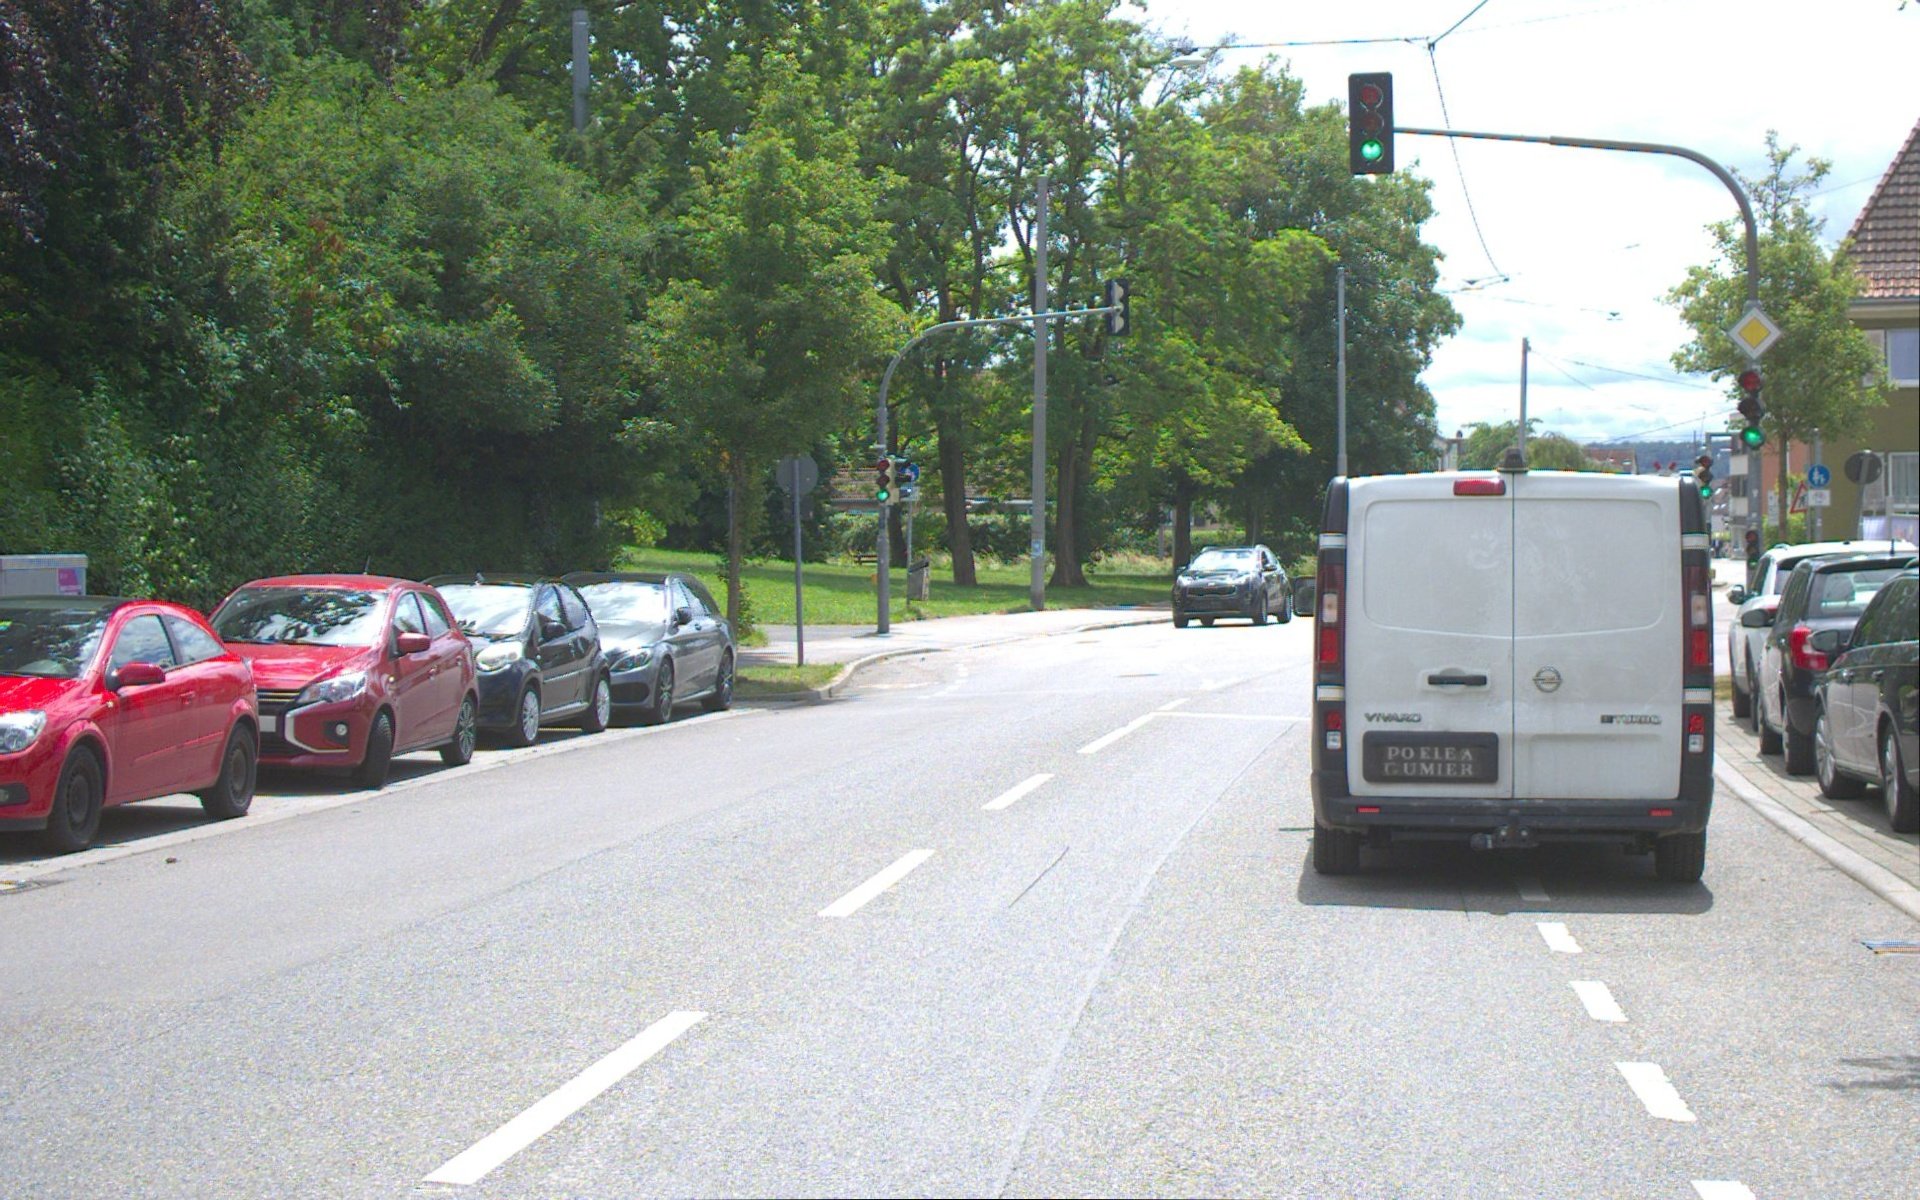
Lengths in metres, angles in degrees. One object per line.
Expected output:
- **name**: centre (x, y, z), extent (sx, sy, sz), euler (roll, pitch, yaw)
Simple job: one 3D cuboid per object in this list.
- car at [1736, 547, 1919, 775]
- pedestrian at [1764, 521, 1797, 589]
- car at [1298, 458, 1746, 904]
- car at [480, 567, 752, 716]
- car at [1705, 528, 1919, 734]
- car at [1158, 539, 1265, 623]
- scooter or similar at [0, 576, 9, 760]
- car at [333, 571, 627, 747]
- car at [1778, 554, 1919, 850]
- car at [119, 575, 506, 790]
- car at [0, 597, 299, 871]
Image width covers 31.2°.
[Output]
- **car**: centre (6.564, 0.372, 24.747), extent (1.569, 1.488, 3.999), euler (-2, 0, 8)
- **pedestrian**: centre (19.332, -1.067, 81.007), extent (0.678, 1.548, 0.835), euler (-2, -2, 15)
- **car**: centre (2.765, 0.319, 17.804), extent (1.939, 1.954, 4.832), euler (1, 1, 6)
- **car**: centre (-3.394, 0.365, 34.796), extent (1.695, 1.361, 4.685), euler (1, 1, 8)
- **car**: centre (7.644, 0.225, 30.270), extent (1.737, 1.611, 4.385), euler (-3, 0, 8)
- **car**: centre (5.191, -0.408, 70.450), extent (1.834, 1.611, 4.151), euler (-2, 1, 8)
- **scooter or similar**: centre (-7.812, 0.533, 25.795), extent (0.670, 1.407, 1.648), euler (0, 1, 9)
- **car**: centre (-4.199, 0.478, 30.563), extent (1.596, 1.445, 3.595), euler (1, 1, 9)
- **car**: centre (5.972, 0.463, 19.756), extent (1.765, 1.472, 4.935), euler (-3, 0, 6)
- **car**: centre (-4.734, 0.551, 25.721), extent (1.650, 1.445, 4.104), euler (1, 1, 7)
- **car**: centre (-5.495, 0.705, 20.473), extent (1.661, 1.373, 4.564), euler (1, 1, 8)
